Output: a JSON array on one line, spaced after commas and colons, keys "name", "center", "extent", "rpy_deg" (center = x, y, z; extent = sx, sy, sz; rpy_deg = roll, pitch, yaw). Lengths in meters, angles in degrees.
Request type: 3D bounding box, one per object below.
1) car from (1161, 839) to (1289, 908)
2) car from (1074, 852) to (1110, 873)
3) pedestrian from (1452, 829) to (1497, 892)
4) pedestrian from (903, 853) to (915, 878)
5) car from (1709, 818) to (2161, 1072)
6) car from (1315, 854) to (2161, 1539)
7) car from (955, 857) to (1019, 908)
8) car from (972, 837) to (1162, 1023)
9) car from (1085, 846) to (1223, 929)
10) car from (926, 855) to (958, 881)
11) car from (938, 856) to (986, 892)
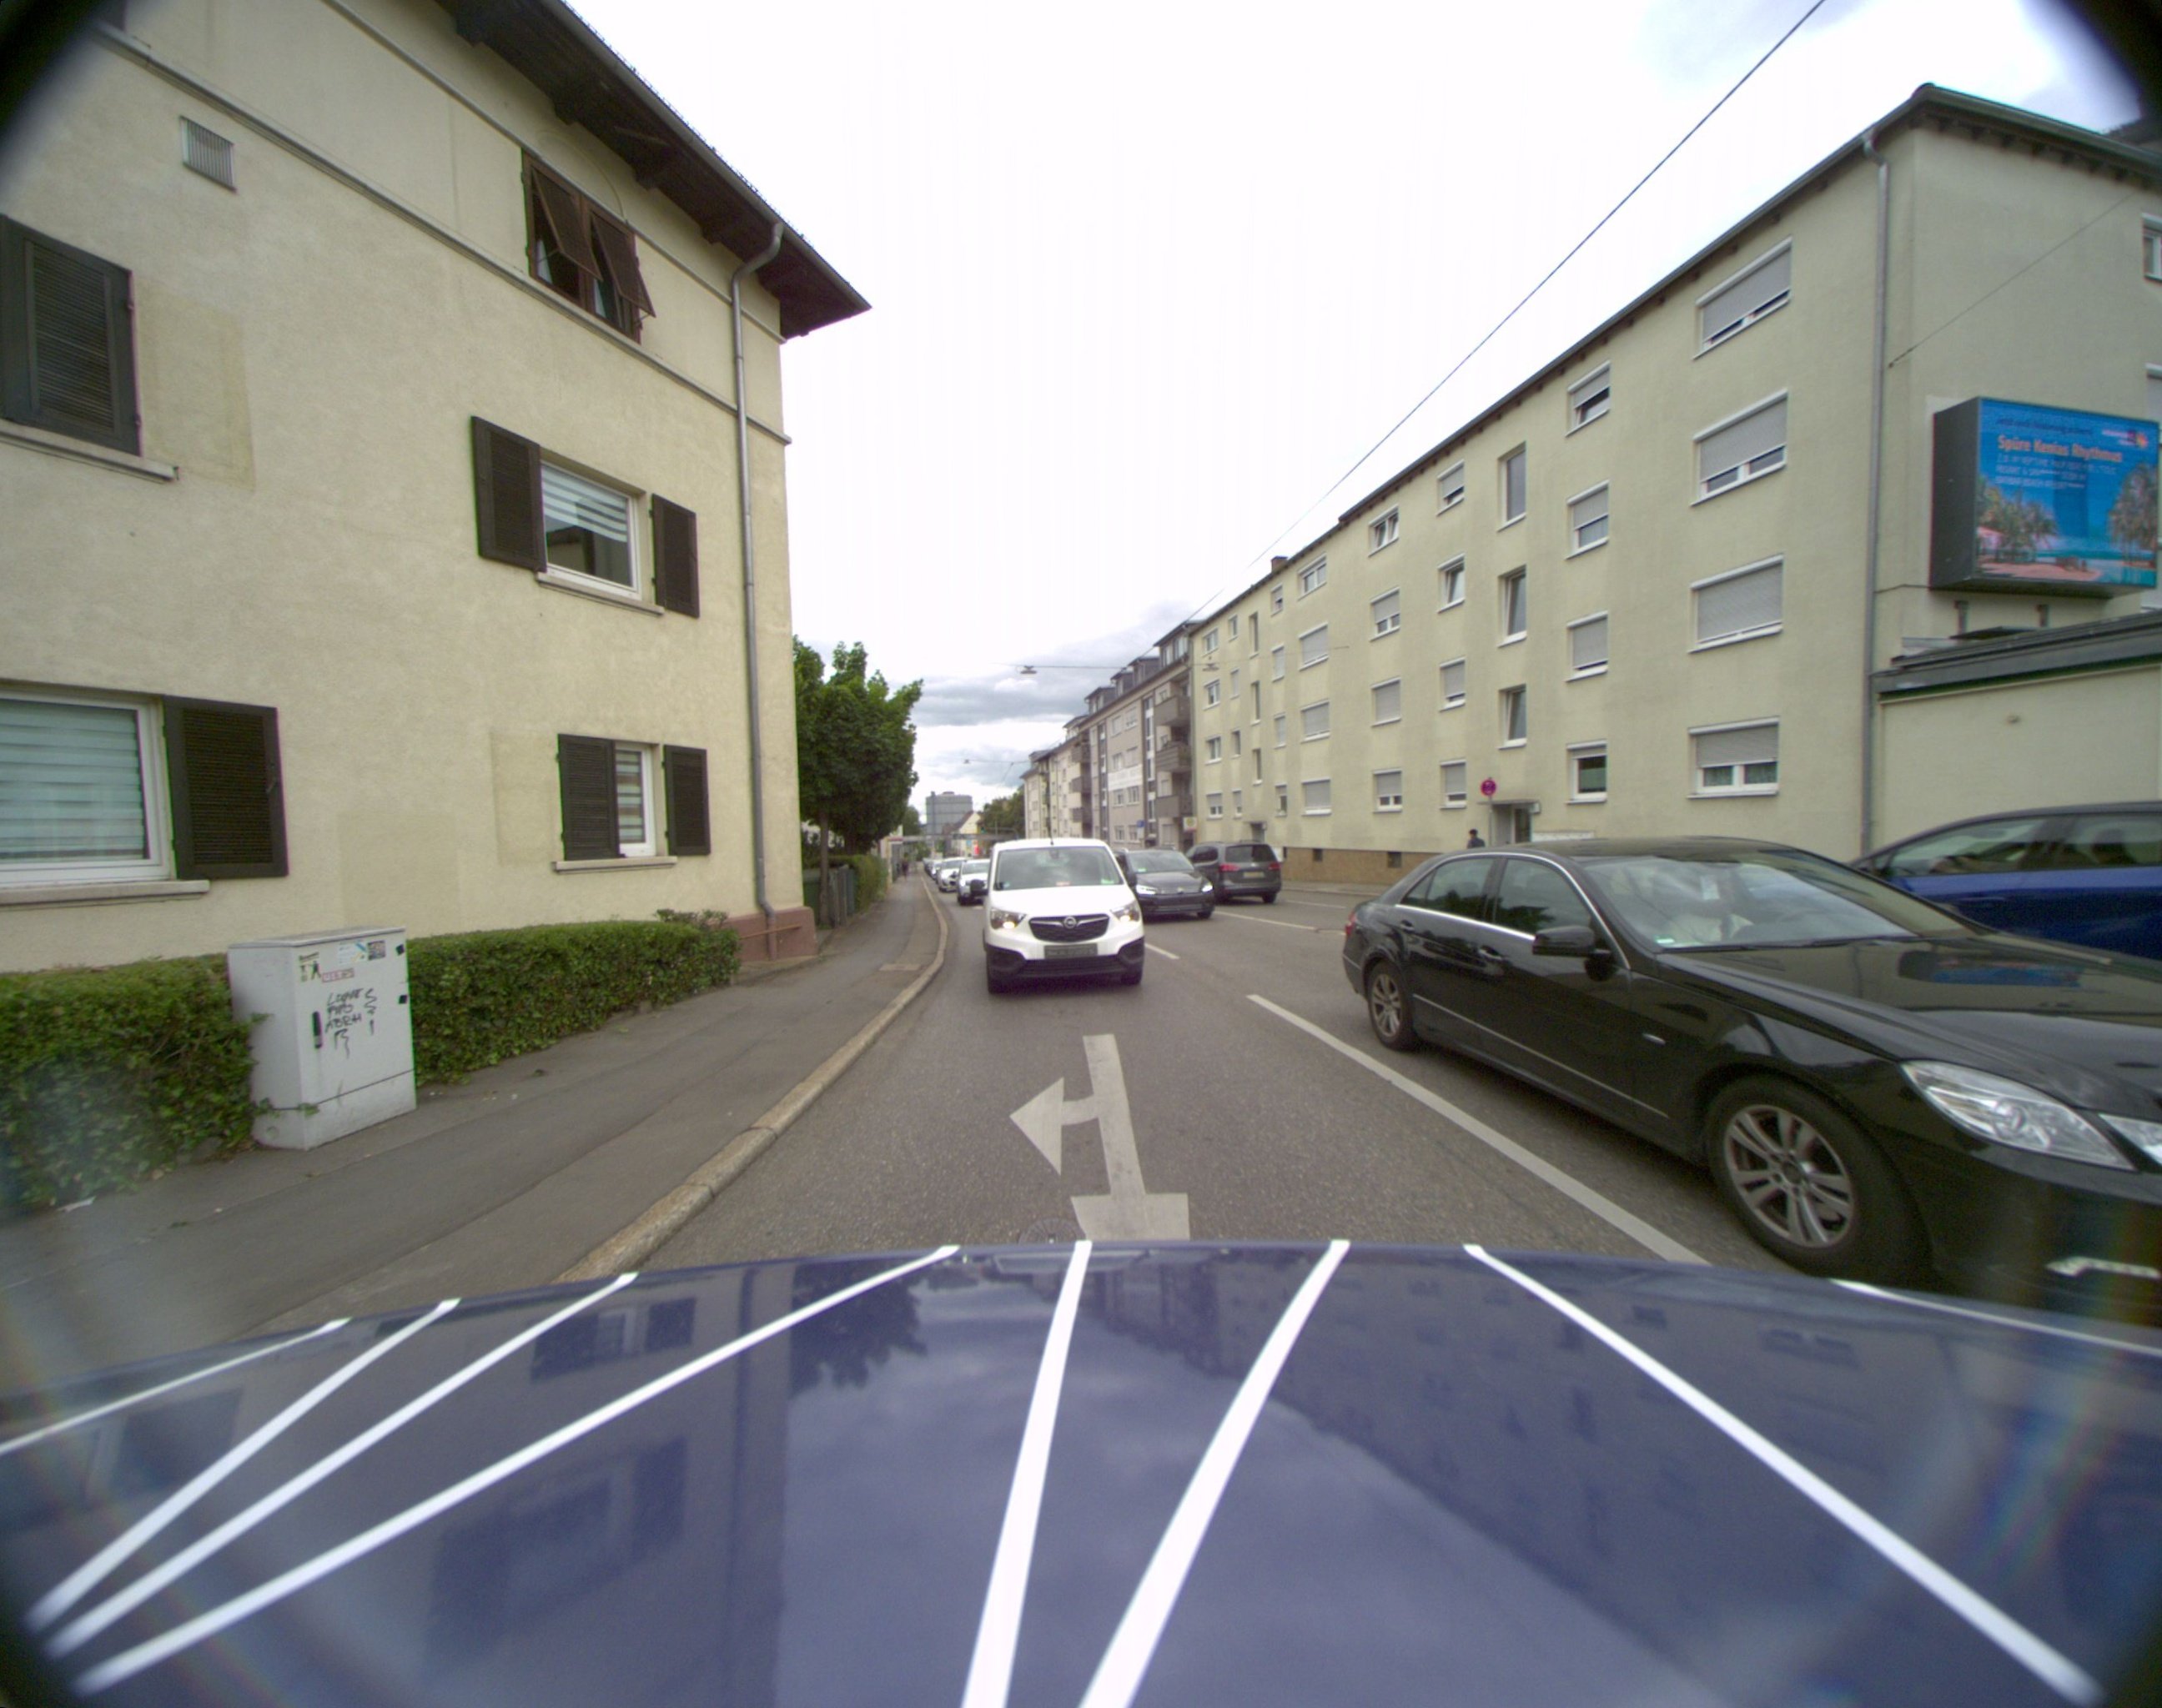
[{"name": "car", "center": [3.963, 0.485, 21.834], "extent": [1.911, 1.704, 4.713], "rpy_deg": [-2, 1, -12]}, {"name": "car", "center": [0.744, 0.585, 53.695], "extent": [1.671, 1.368, 3.535], "rpy_deg": [-1, 1, -15]}, {"name": "pedestrian", "center": [10.571, 0.178, 20.411], "extent": [0.690, 1.627, 0.778], "rpy_deg": [-2, 1, -14]}, {"name": "pedestrian", "center": [-12.812, 0.842, 56.511], "extent": [0.648, 1.830, 0.591], "rpy_deg": [-3, 1, -29]}, {"name": "car", "center": [7.265, 0.522, 5.456], "extent": [1.793, 1.522, 4.032], "rpy_deg": [-2, 0, -10]}, {"name": "car", "center": [3.156, 0.757, 3.932], "extent": [1.999, 1.420, 4.840], "rpy_deg": [-3, 0, -5]}, {"name": "car", "center": [-3.390, 0.919, 26.801], "extent": [1.901, 1.501, 4.163], "rpy_deg": [-4, 1, -10]}, {"name": "car", "center": [-0.437, 0.733, 10.090], "extent": [1.863, 1.772, 4.707], "rpy_deg": [-3, 1, -8]}, {"name": "car", "center": [1.544, 0.659, 17.855], "extent": [1.864, 1.602, 4.474], "rpy_deg": [-3, 1, -13]}, {"name": "car", "center": [-9.378, 0.895, 51.114], "extent": [1.901, 1.572, 3.995], "rpy_deg": [-1, 1, -14]}, {"name": "car", "center": [-5.982, 0.942, 37.834], "extent": [1.901, 1.635, 3.995], "rpy_deg": [-2, 1, -15]}]
